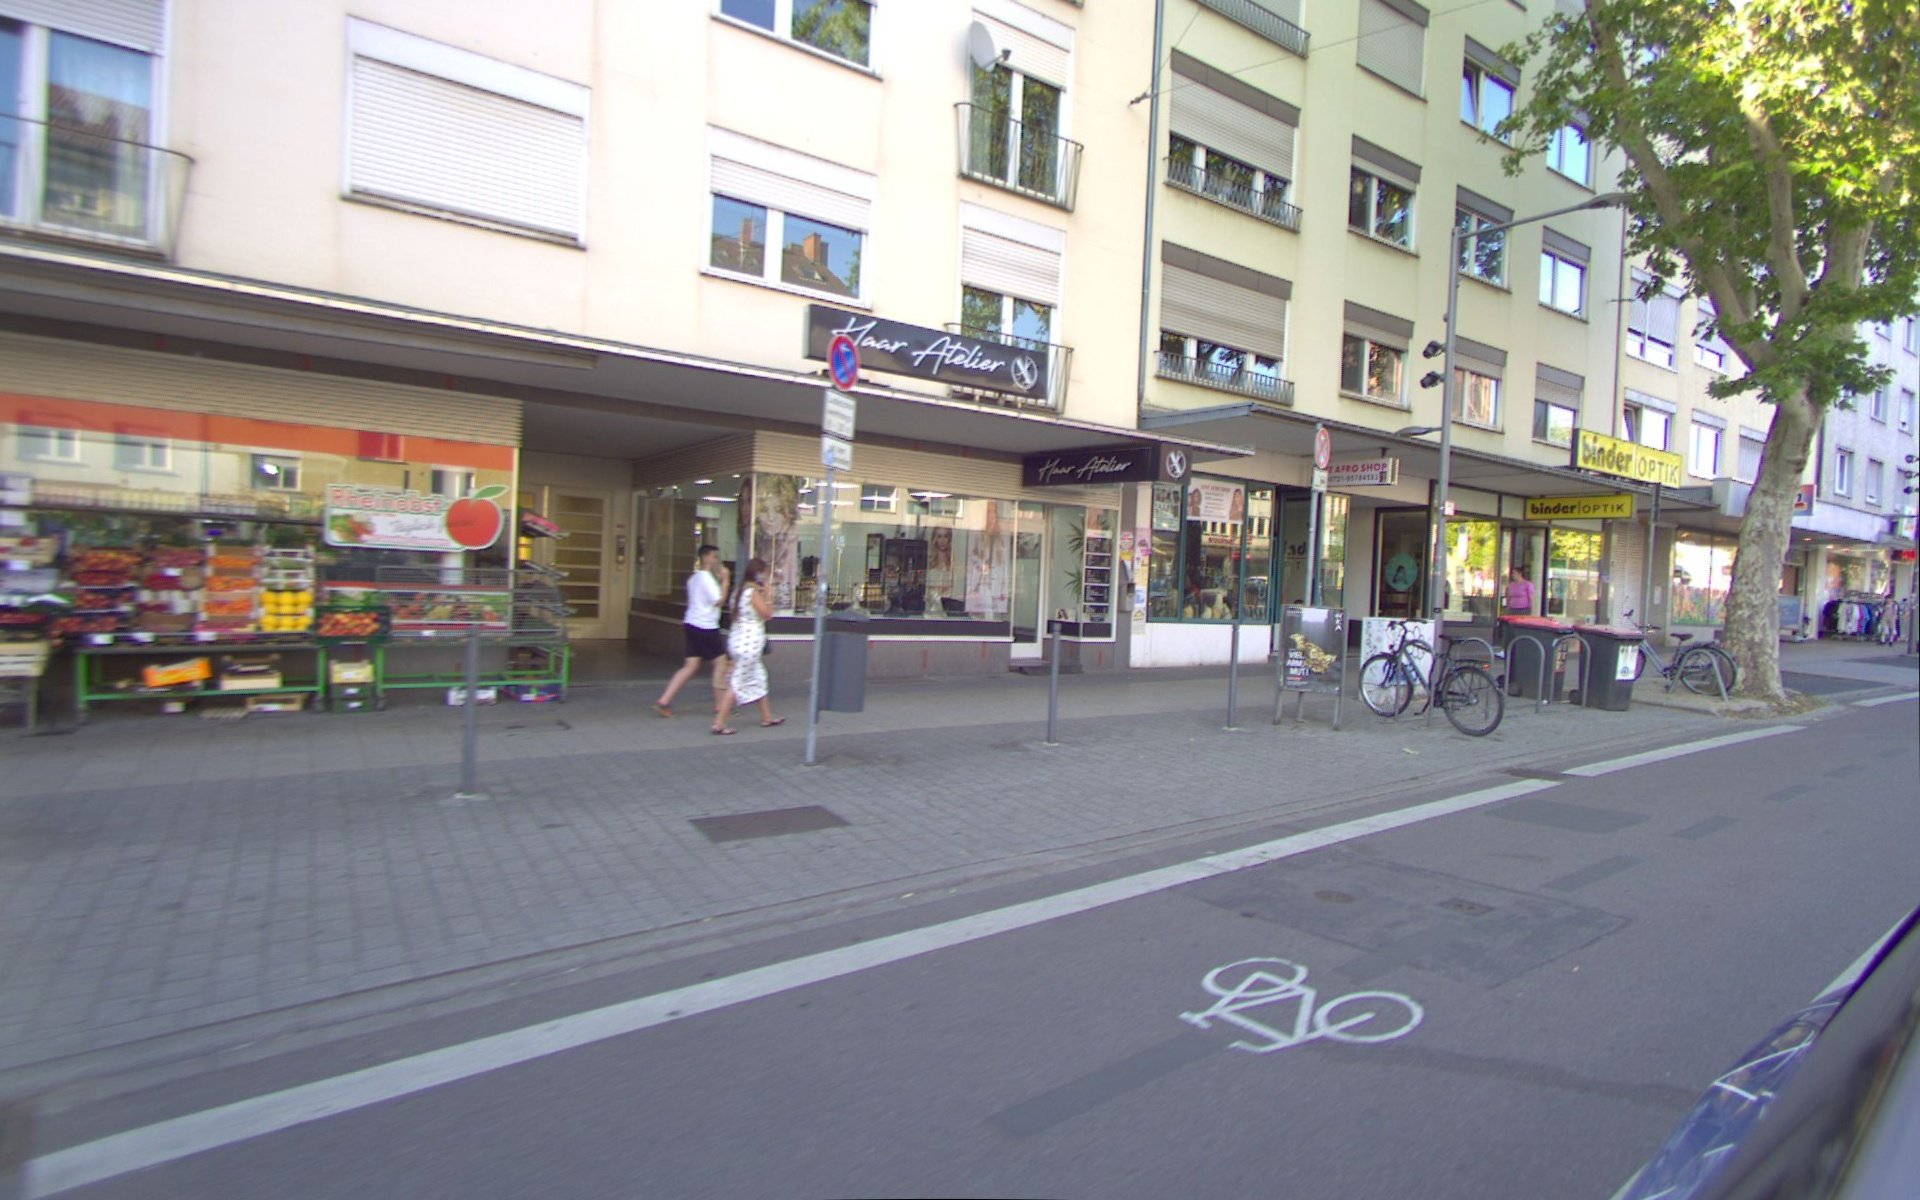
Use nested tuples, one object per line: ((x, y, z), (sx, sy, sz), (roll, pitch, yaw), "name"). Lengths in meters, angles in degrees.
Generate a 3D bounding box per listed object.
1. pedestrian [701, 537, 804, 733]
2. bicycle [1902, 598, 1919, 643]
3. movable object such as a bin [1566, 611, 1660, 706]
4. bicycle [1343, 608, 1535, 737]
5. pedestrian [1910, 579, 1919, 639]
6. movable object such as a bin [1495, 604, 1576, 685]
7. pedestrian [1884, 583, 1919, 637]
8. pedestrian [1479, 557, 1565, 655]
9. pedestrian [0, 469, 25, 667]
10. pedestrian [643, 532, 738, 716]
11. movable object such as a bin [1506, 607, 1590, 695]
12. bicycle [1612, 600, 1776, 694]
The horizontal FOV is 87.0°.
((-1.810, 0.275, 8.792), (0.615, 1.605, 0.638), (1, 4, -36), "pedestrian")
((26.011, 0.622, 26.477), (1.778, 1.137, 0.658), (8, 6, 29), "bicycle")
((8.518, 0.744, 13.219), (0.631, 1.115, 0.726), (1, 5, -28), "movable object such as a bin")
((5.168, 0.734, 11.068), (0.507, 1.118, 1.917), (1, 4, -28), "bicycle")
((27.109, 0.282, 28.266), (0.878, 1.648, 0.548), (2, 3, -34), "pedestrian")
((8.284, 0.631, 14.587), (0.630, 1.085, 0.726), (1, 3, -16), "movable object such as a bin")
((27.305, 0.293, 29.288), (0.878, 1.520, 0.543), (2, 3, -34), "pedestrian")
((10.813, 0.095, 19.487), (1.111, 1.784, 0.972), (0, 3, -34), "pedestrian")
((-9.054, -0.292, 9.108), (0.864, 1.766, 0.685), (1, 0, -38), "pedestrian")
((-2.487, 0.200, 9.306), (0.615, 1.605, 0.624), (1, 4, -36), "pedestrian")
((8.036, 0.680, 13.846), (0.632, 1.084, 0.725), (0, 5, -36), "movable object such as a bin")
((10.344, 0.617, 14.323), (0.731, 1.130, 1.724), (-3, 4, -33), "bicycle")
